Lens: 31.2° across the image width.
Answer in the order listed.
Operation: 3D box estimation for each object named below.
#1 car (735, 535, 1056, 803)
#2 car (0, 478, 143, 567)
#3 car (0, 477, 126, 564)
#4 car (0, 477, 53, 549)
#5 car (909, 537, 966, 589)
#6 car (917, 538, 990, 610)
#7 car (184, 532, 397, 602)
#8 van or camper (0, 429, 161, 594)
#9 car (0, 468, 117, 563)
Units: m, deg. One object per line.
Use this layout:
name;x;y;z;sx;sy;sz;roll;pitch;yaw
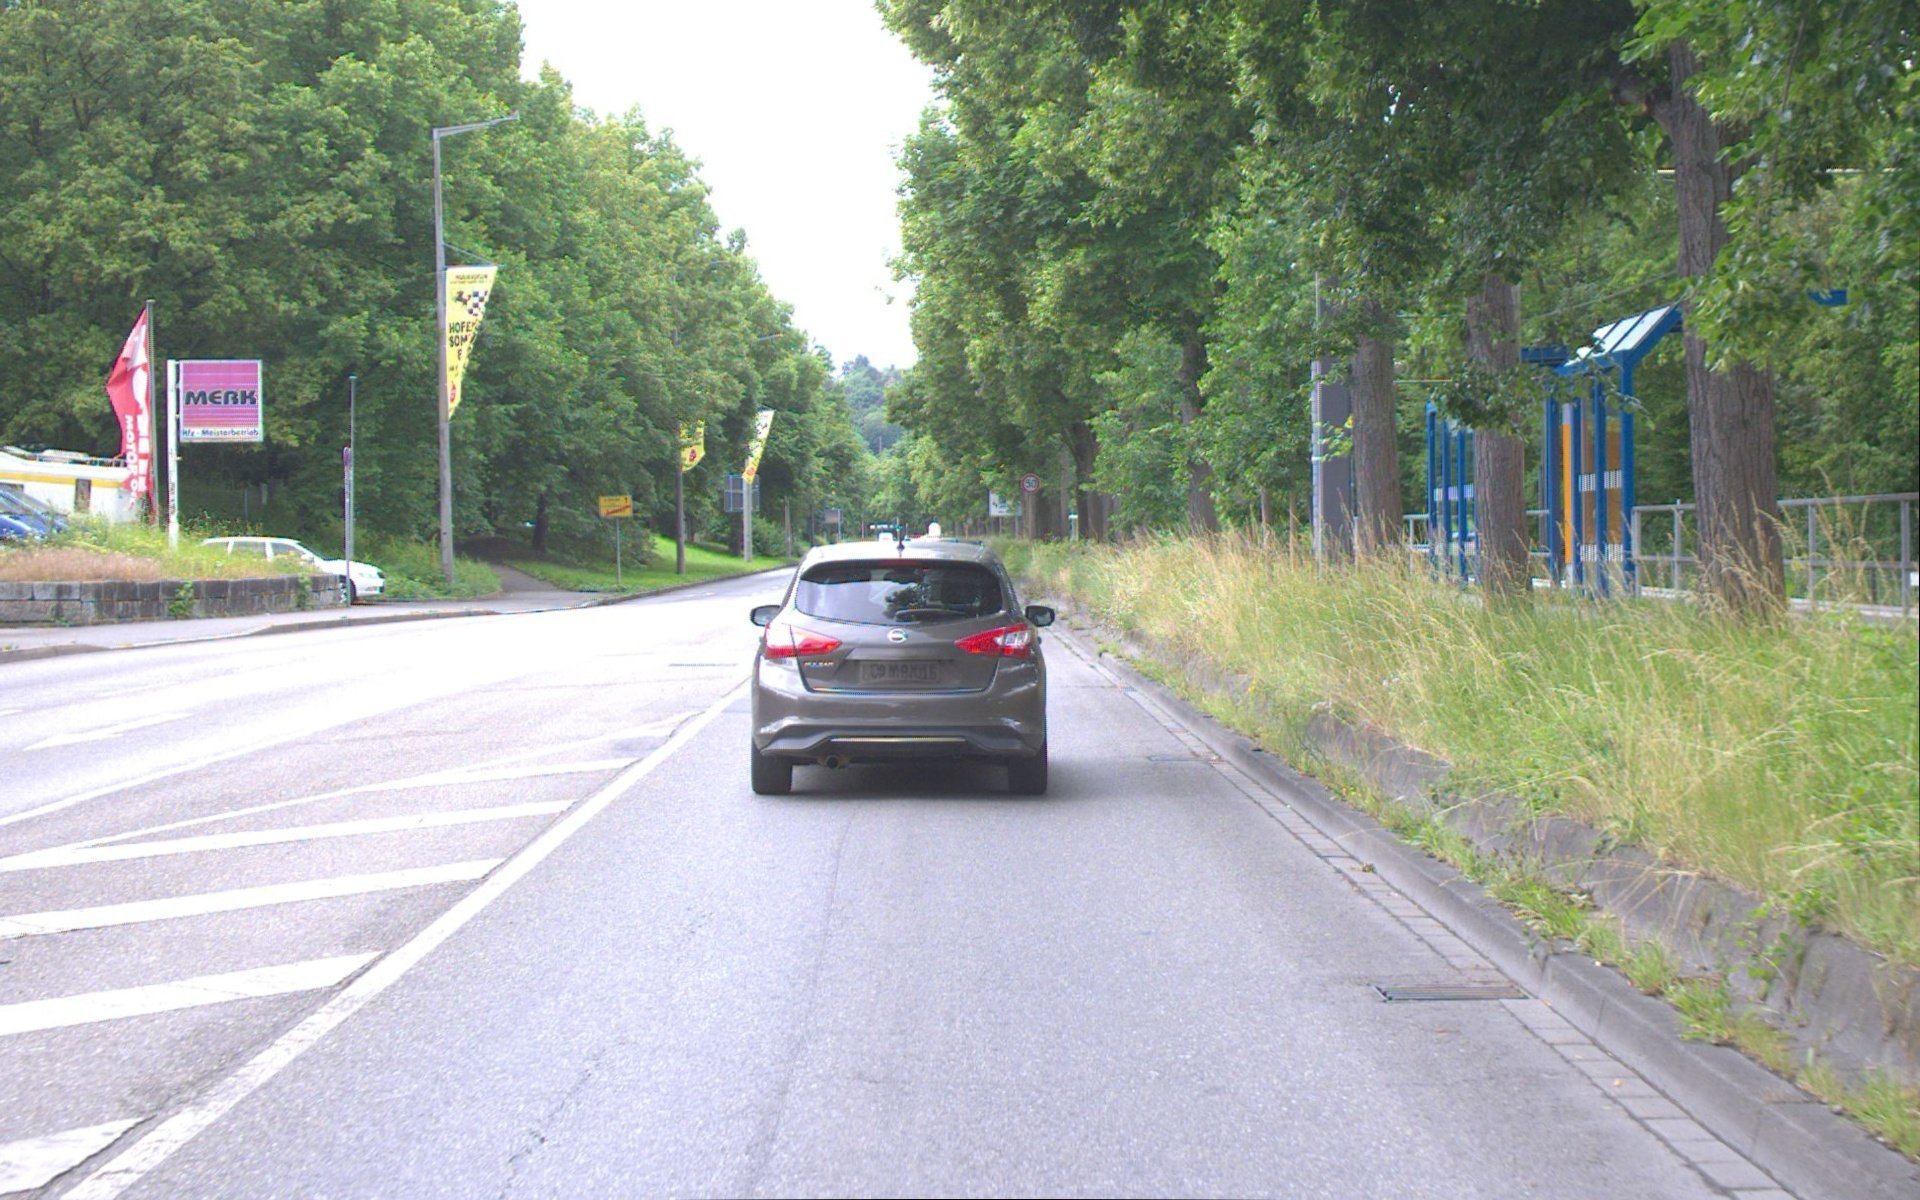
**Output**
car;-0.322;0.370;21.726;1.837;1.523;3.929;1;1;2
car;-16.500;-1.367;60.046;3.987;1.487;1.647;1;0;5
car;-16.295;-1.363;58.087;3.987;1.406;1.533;1;0;5
car;-20.089;-1.733;67.396;3.987;1.365;2.000;1;0;5
car;-0.640;-1.083;100.239;1.503;1.476;3.671;1;1;2
car;-0.126;-0.588;76.145;1.503;1.523;3.671;1;1;1
car;-14.844;-0.746;76.423;4.374;1.436;1.961;1;1;-2
van or camper;-21.732;-2.135;76.210;7.141;3.359;2.796;5;1;0
car;-16.057;-1.398;56.216;3.987;1.492;1.859;1;0;5
